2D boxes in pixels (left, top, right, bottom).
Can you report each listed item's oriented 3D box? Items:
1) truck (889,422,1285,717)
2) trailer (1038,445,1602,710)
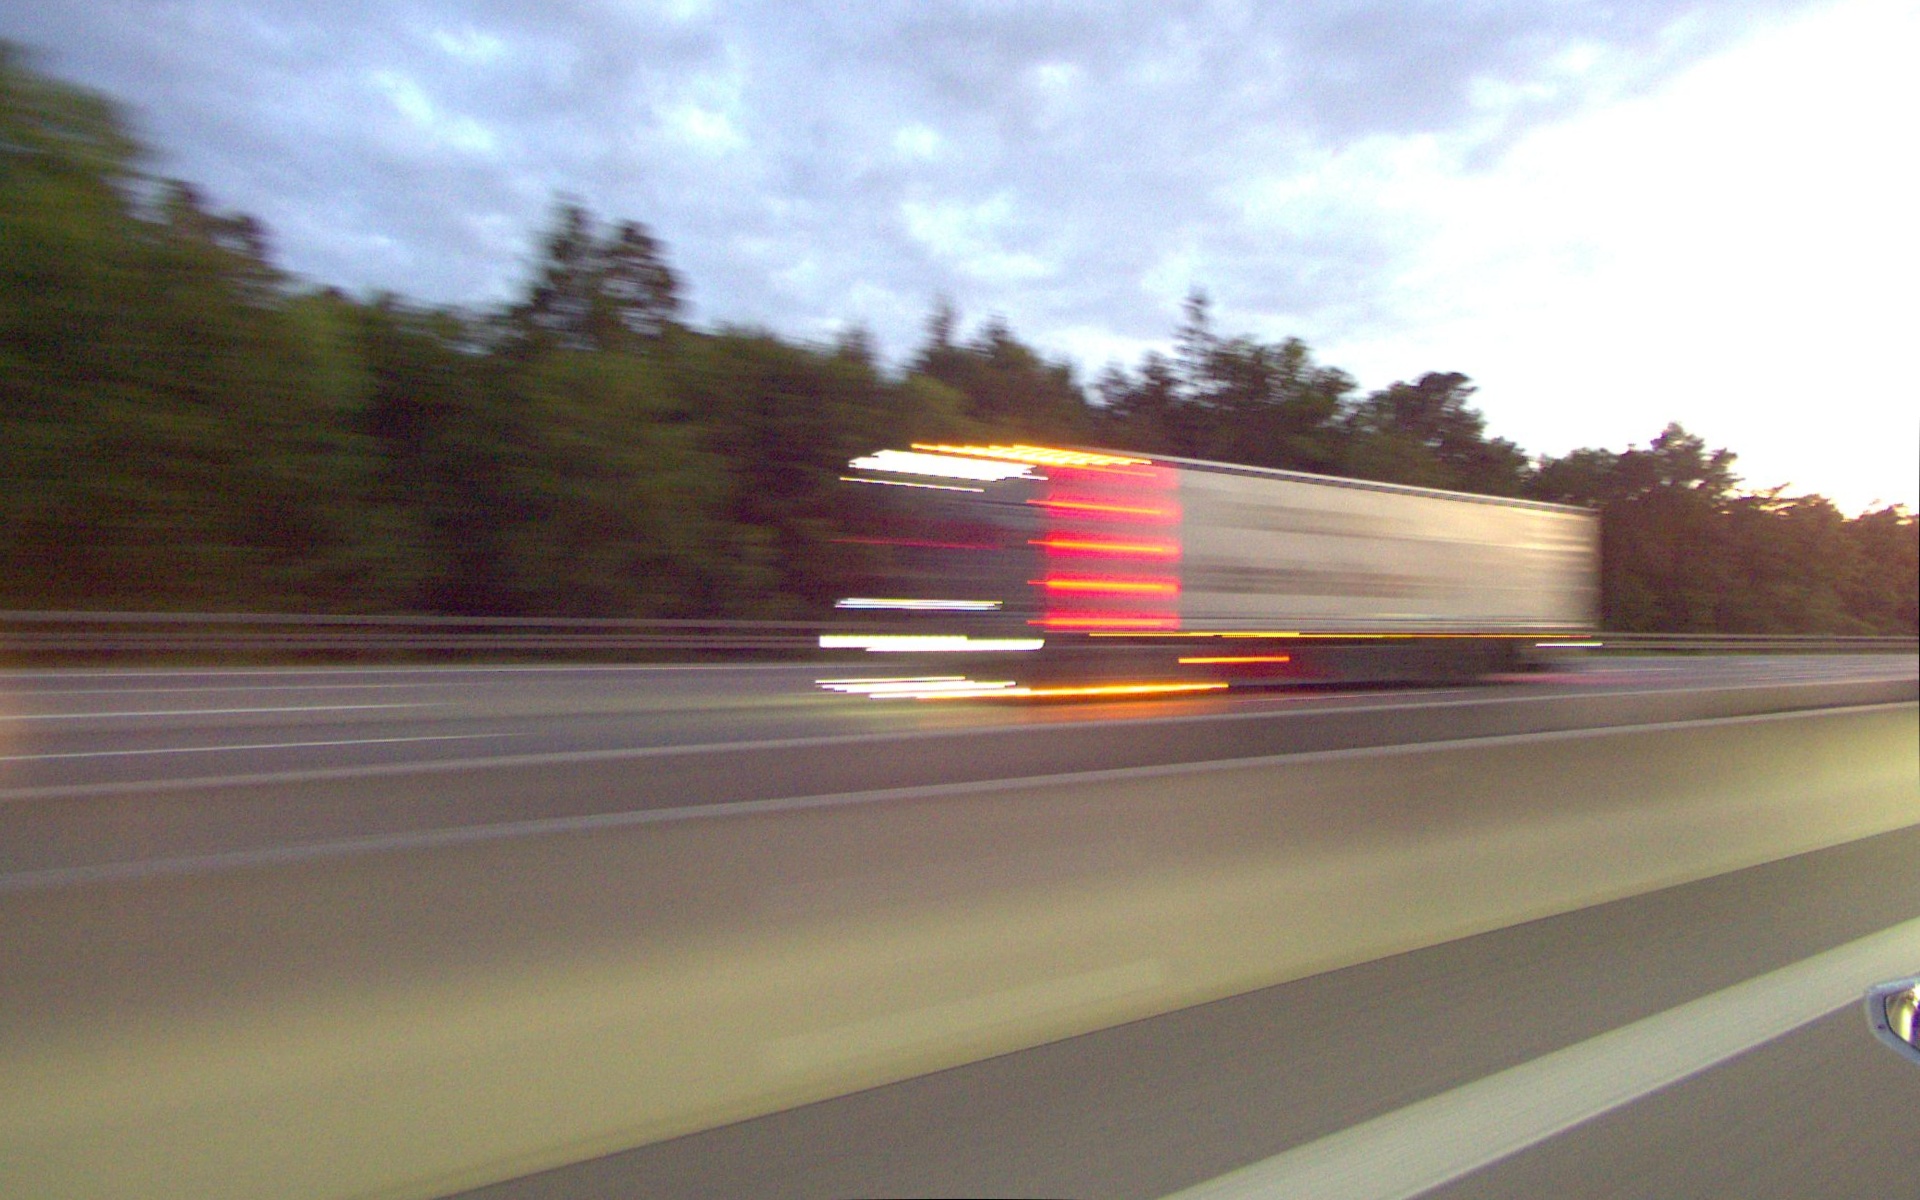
[{"bbox_3d":[2.271,-0.361,17.077,6.450,4.186,2.636,1,-1,-31],"label":"truck"},{"bbox_3d":[8.127,-0.209,20.677,14.164,4.186,2.636,1,-1,-32],"label":"trailer"}]
